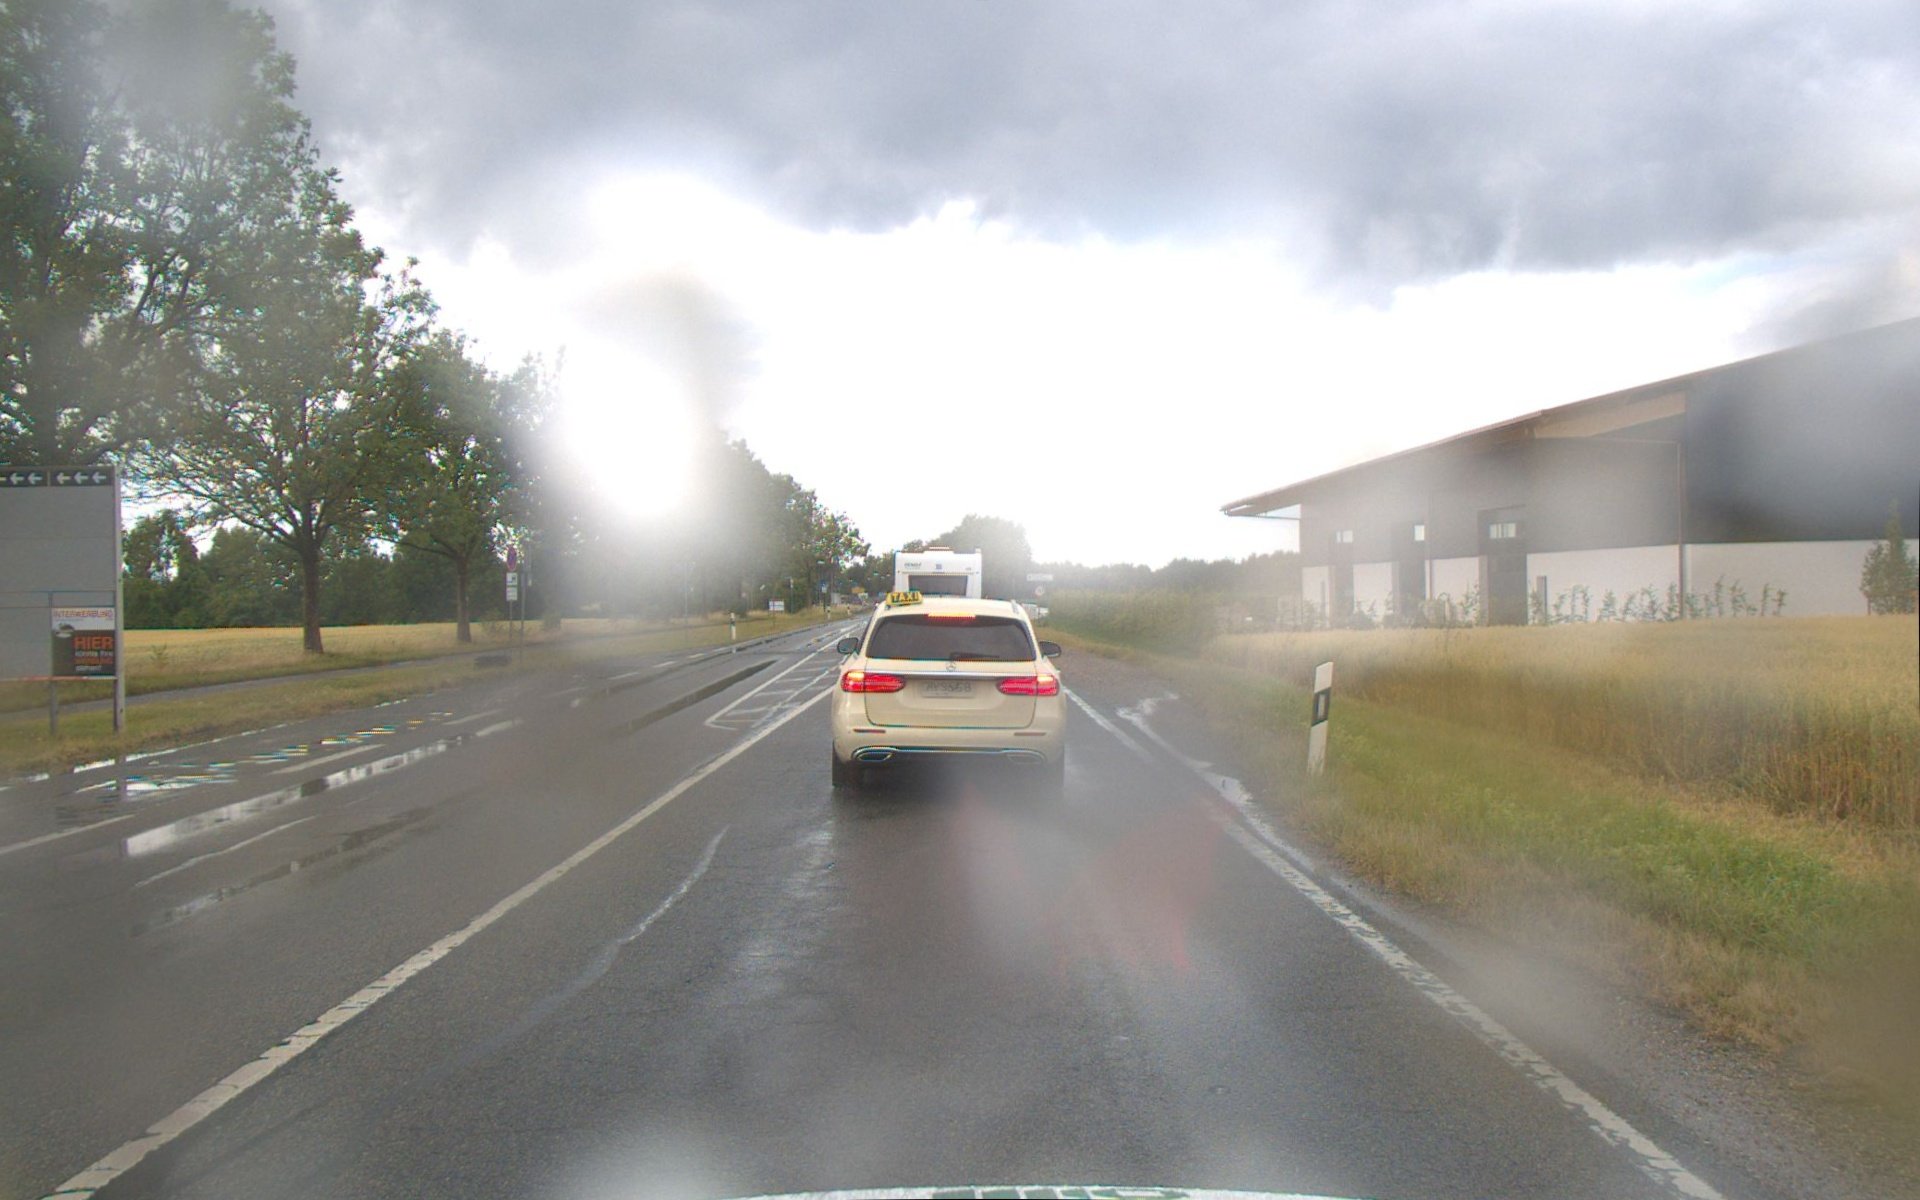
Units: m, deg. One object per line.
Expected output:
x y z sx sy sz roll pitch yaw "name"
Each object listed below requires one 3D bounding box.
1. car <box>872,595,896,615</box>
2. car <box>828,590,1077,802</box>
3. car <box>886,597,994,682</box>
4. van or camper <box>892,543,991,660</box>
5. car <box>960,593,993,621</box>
-6.627 0.422 144.031 1.877 1.660 4.356 -2 0 -1 "car"
-0.069 0.679 13.771 1.760 1.490 4.030 0 0 -1 "car"
-0.397 0.675 30.491 1.856 1.454 3.926 0 0 -2 "car"
-0.466 0.032 44.881 2.446 2.880 5.933 -2 0 0 "van or camper"
0.944 0.382 95.816 1.855 1.618 3.928 0 0 1 "car"
